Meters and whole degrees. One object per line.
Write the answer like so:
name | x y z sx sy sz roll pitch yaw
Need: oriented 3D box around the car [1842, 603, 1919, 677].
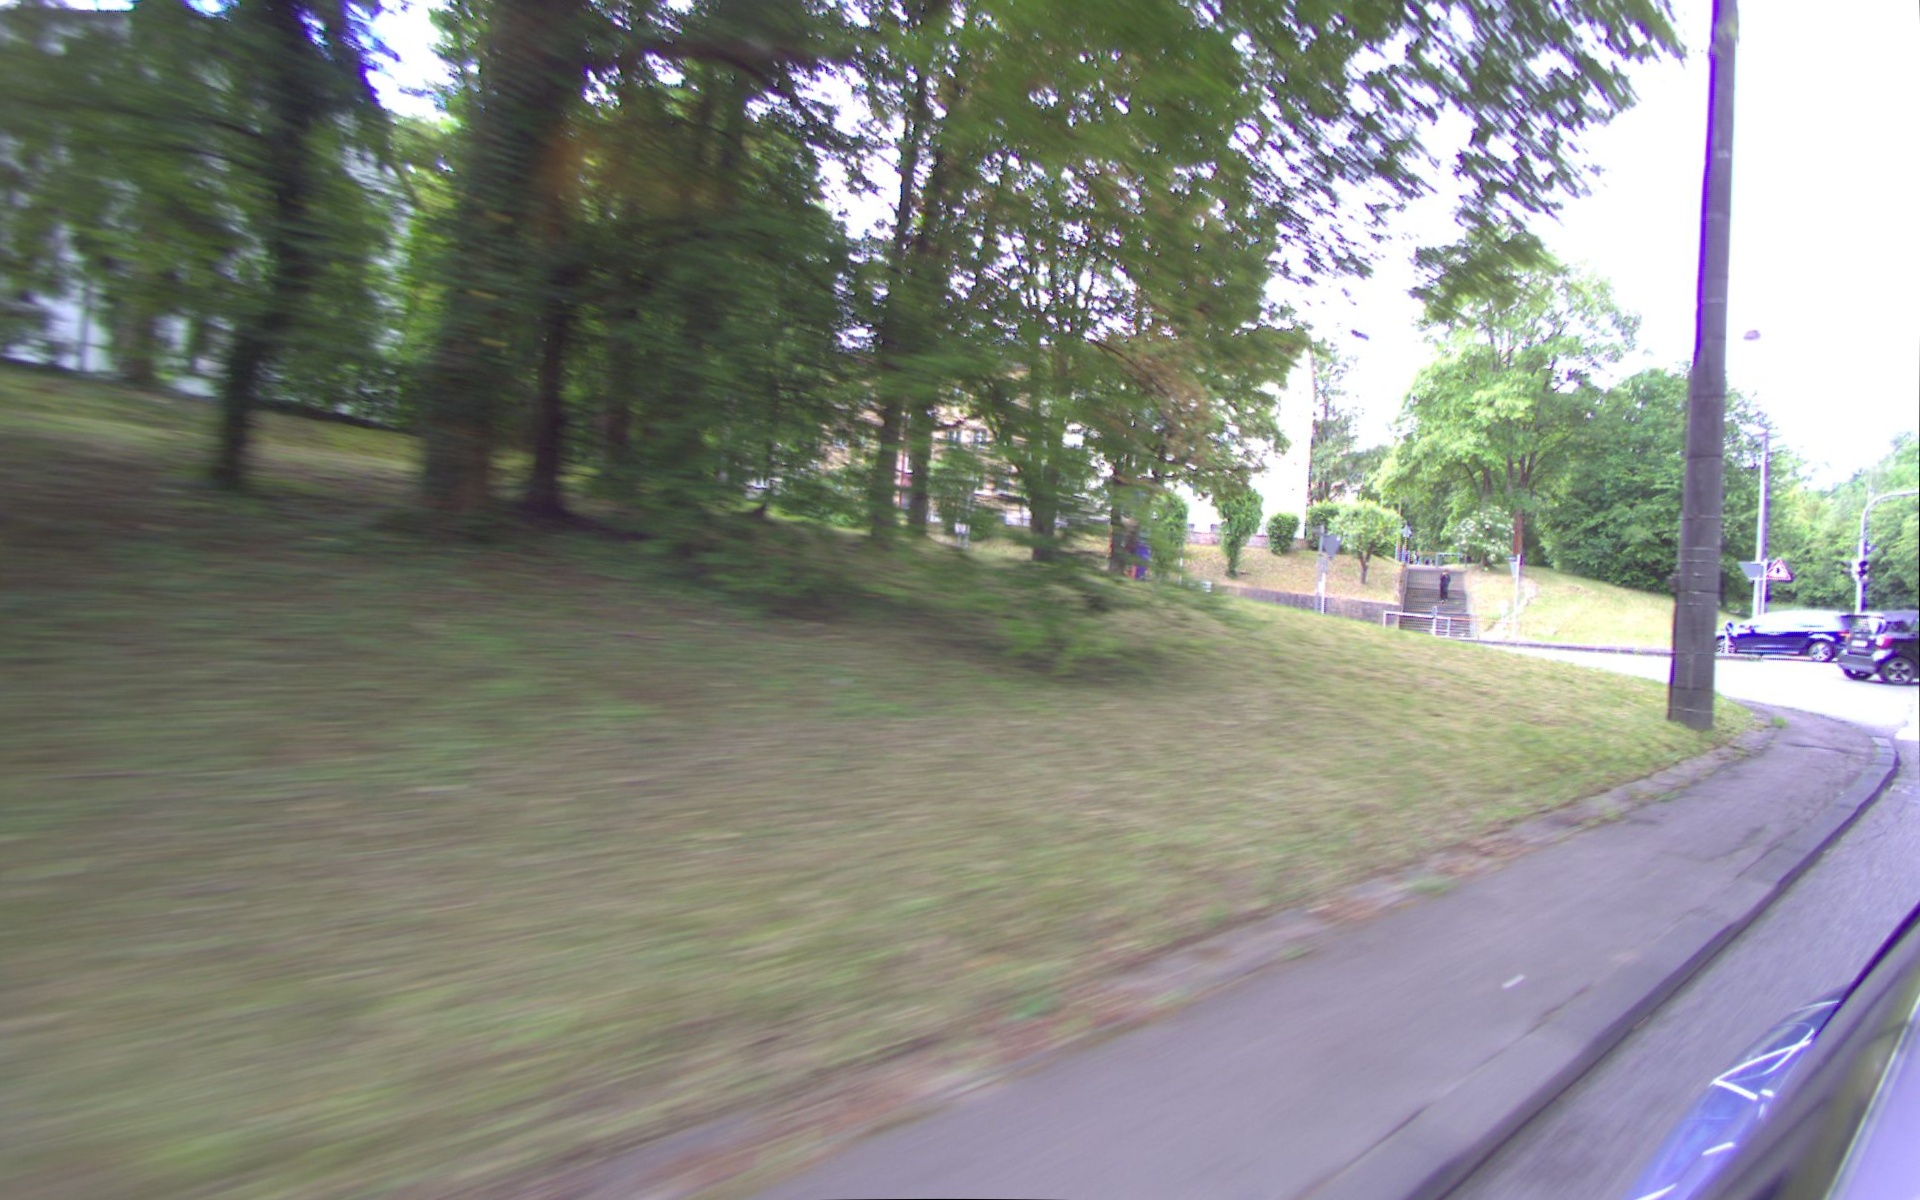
car | 20.865 0.822 21.140 3.274 1.513 1.656 0 0 21

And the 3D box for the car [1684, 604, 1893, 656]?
car | 26.213 0.891 32.237 1.757 1.534 4.849 0 0 -25
